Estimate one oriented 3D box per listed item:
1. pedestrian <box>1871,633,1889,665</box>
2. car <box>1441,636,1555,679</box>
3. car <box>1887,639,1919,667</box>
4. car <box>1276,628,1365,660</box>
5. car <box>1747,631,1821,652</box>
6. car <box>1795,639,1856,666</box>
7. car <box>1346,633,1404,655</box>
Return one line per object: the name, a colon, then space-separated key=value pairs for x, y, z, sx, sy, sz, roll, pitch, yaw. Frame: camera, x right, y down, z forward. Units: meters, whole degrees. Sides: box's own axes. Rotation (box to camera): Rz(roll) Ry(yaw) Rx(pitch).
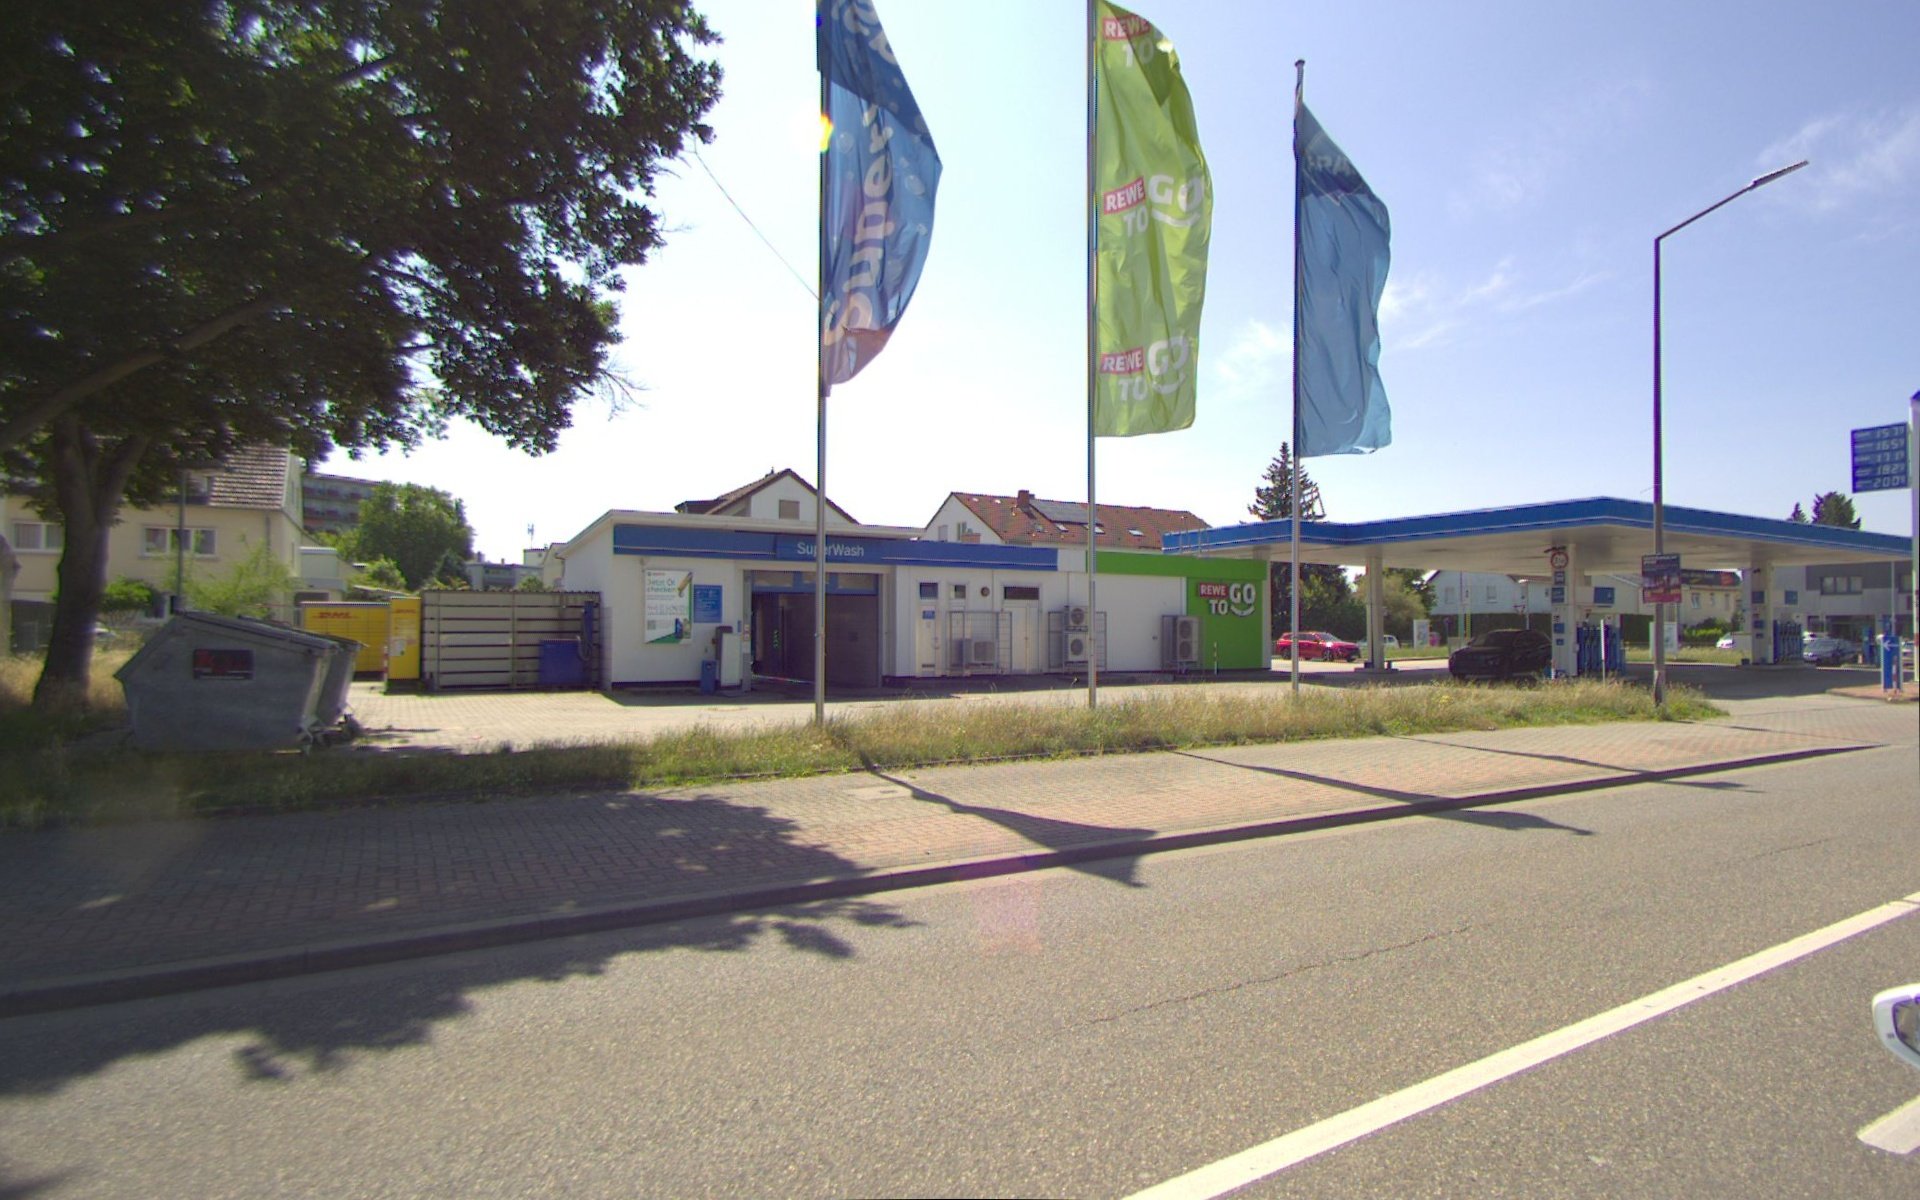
pedestrian: x=49.920 y=2.674 z=54.510 sx=0.602 sy=1.713 sz=0.707 roll=-1 pitch=-2 yaw=35
car: x=18.697 y=1.965 z=34.857 sx=3.953 sy=1.400 sz=1.662 roll=1 pitch=-2 yaw=-30
car: x=49.898 y=2.737 z=52.290 sx=3.673 sy=1.438 sz=1.607 roll=1 pitch=-3 yaw=-34
car: x=18.054 y=2.178 z=50.467 sx=1.660 sy=1.556 sz=3.958 roll=1 pitch=-2 yaw=-37
car: x=60.499 y=3.011 z=73.822 sx=1.538 sy=1.528 sz=3.965 roll=1 pitch=-2 yaw=-32
car: x=47.496 y=2.886 z=55.085 sx=3.673 sy=1.438 sz=1.607 roll=1 pitch=-3 yaw=-34
car: x=29.540 y=3.103 z=71.439 sx=3.949 sy=1.500 sz=1.664 roll=1 pitch=-2 yaw=-28
